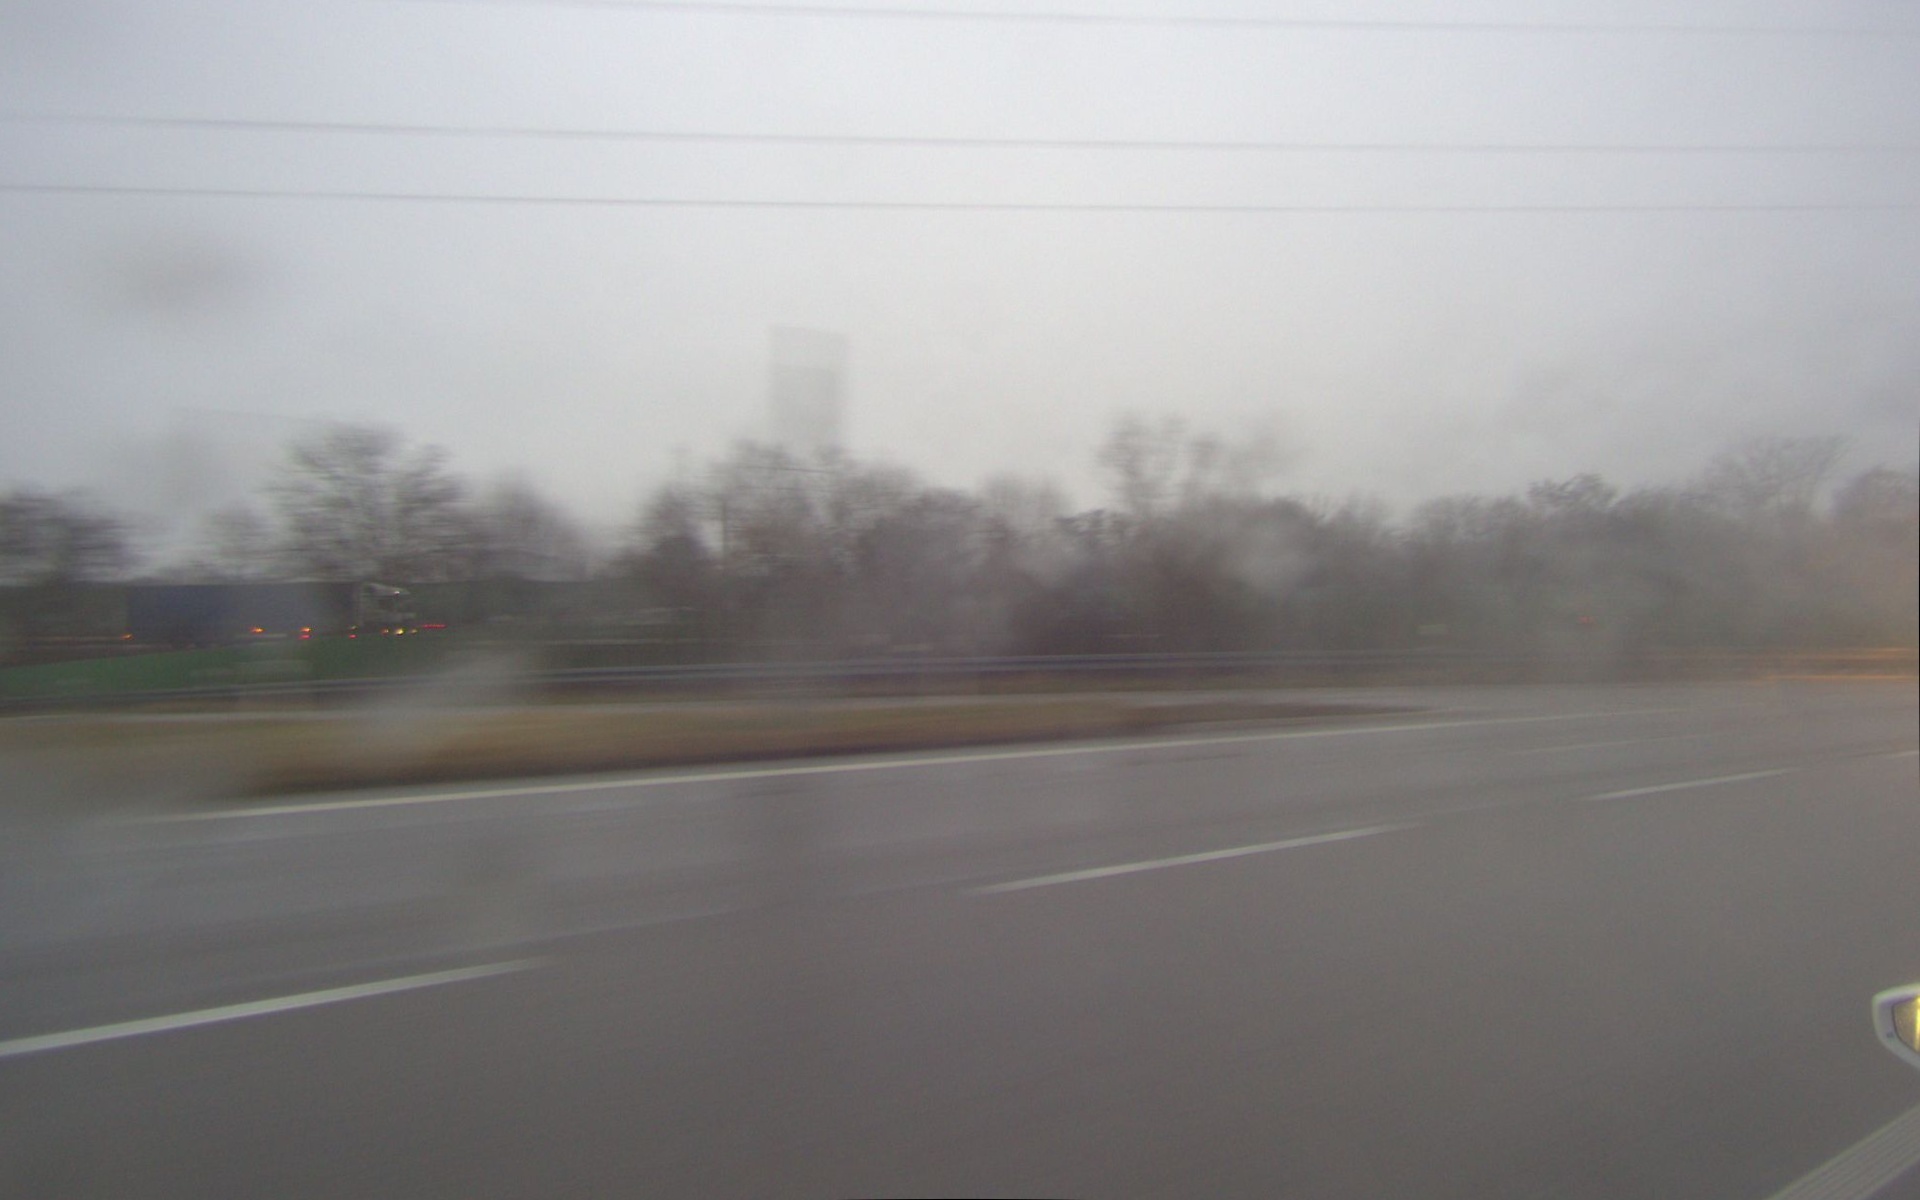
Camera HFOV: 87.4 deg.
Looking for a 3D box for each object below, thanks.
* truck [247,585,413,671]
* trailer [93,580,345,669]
[{"bbox_3d":[-40.722,1.823,65.171,8.359,5.198,3.283,2,-1,-6],"label":"truck"},{"bbox_3d":[-47.287,1.602,64.516,12.980,5.171,3.310,2,-1,-6],"label":"trailer"}]
